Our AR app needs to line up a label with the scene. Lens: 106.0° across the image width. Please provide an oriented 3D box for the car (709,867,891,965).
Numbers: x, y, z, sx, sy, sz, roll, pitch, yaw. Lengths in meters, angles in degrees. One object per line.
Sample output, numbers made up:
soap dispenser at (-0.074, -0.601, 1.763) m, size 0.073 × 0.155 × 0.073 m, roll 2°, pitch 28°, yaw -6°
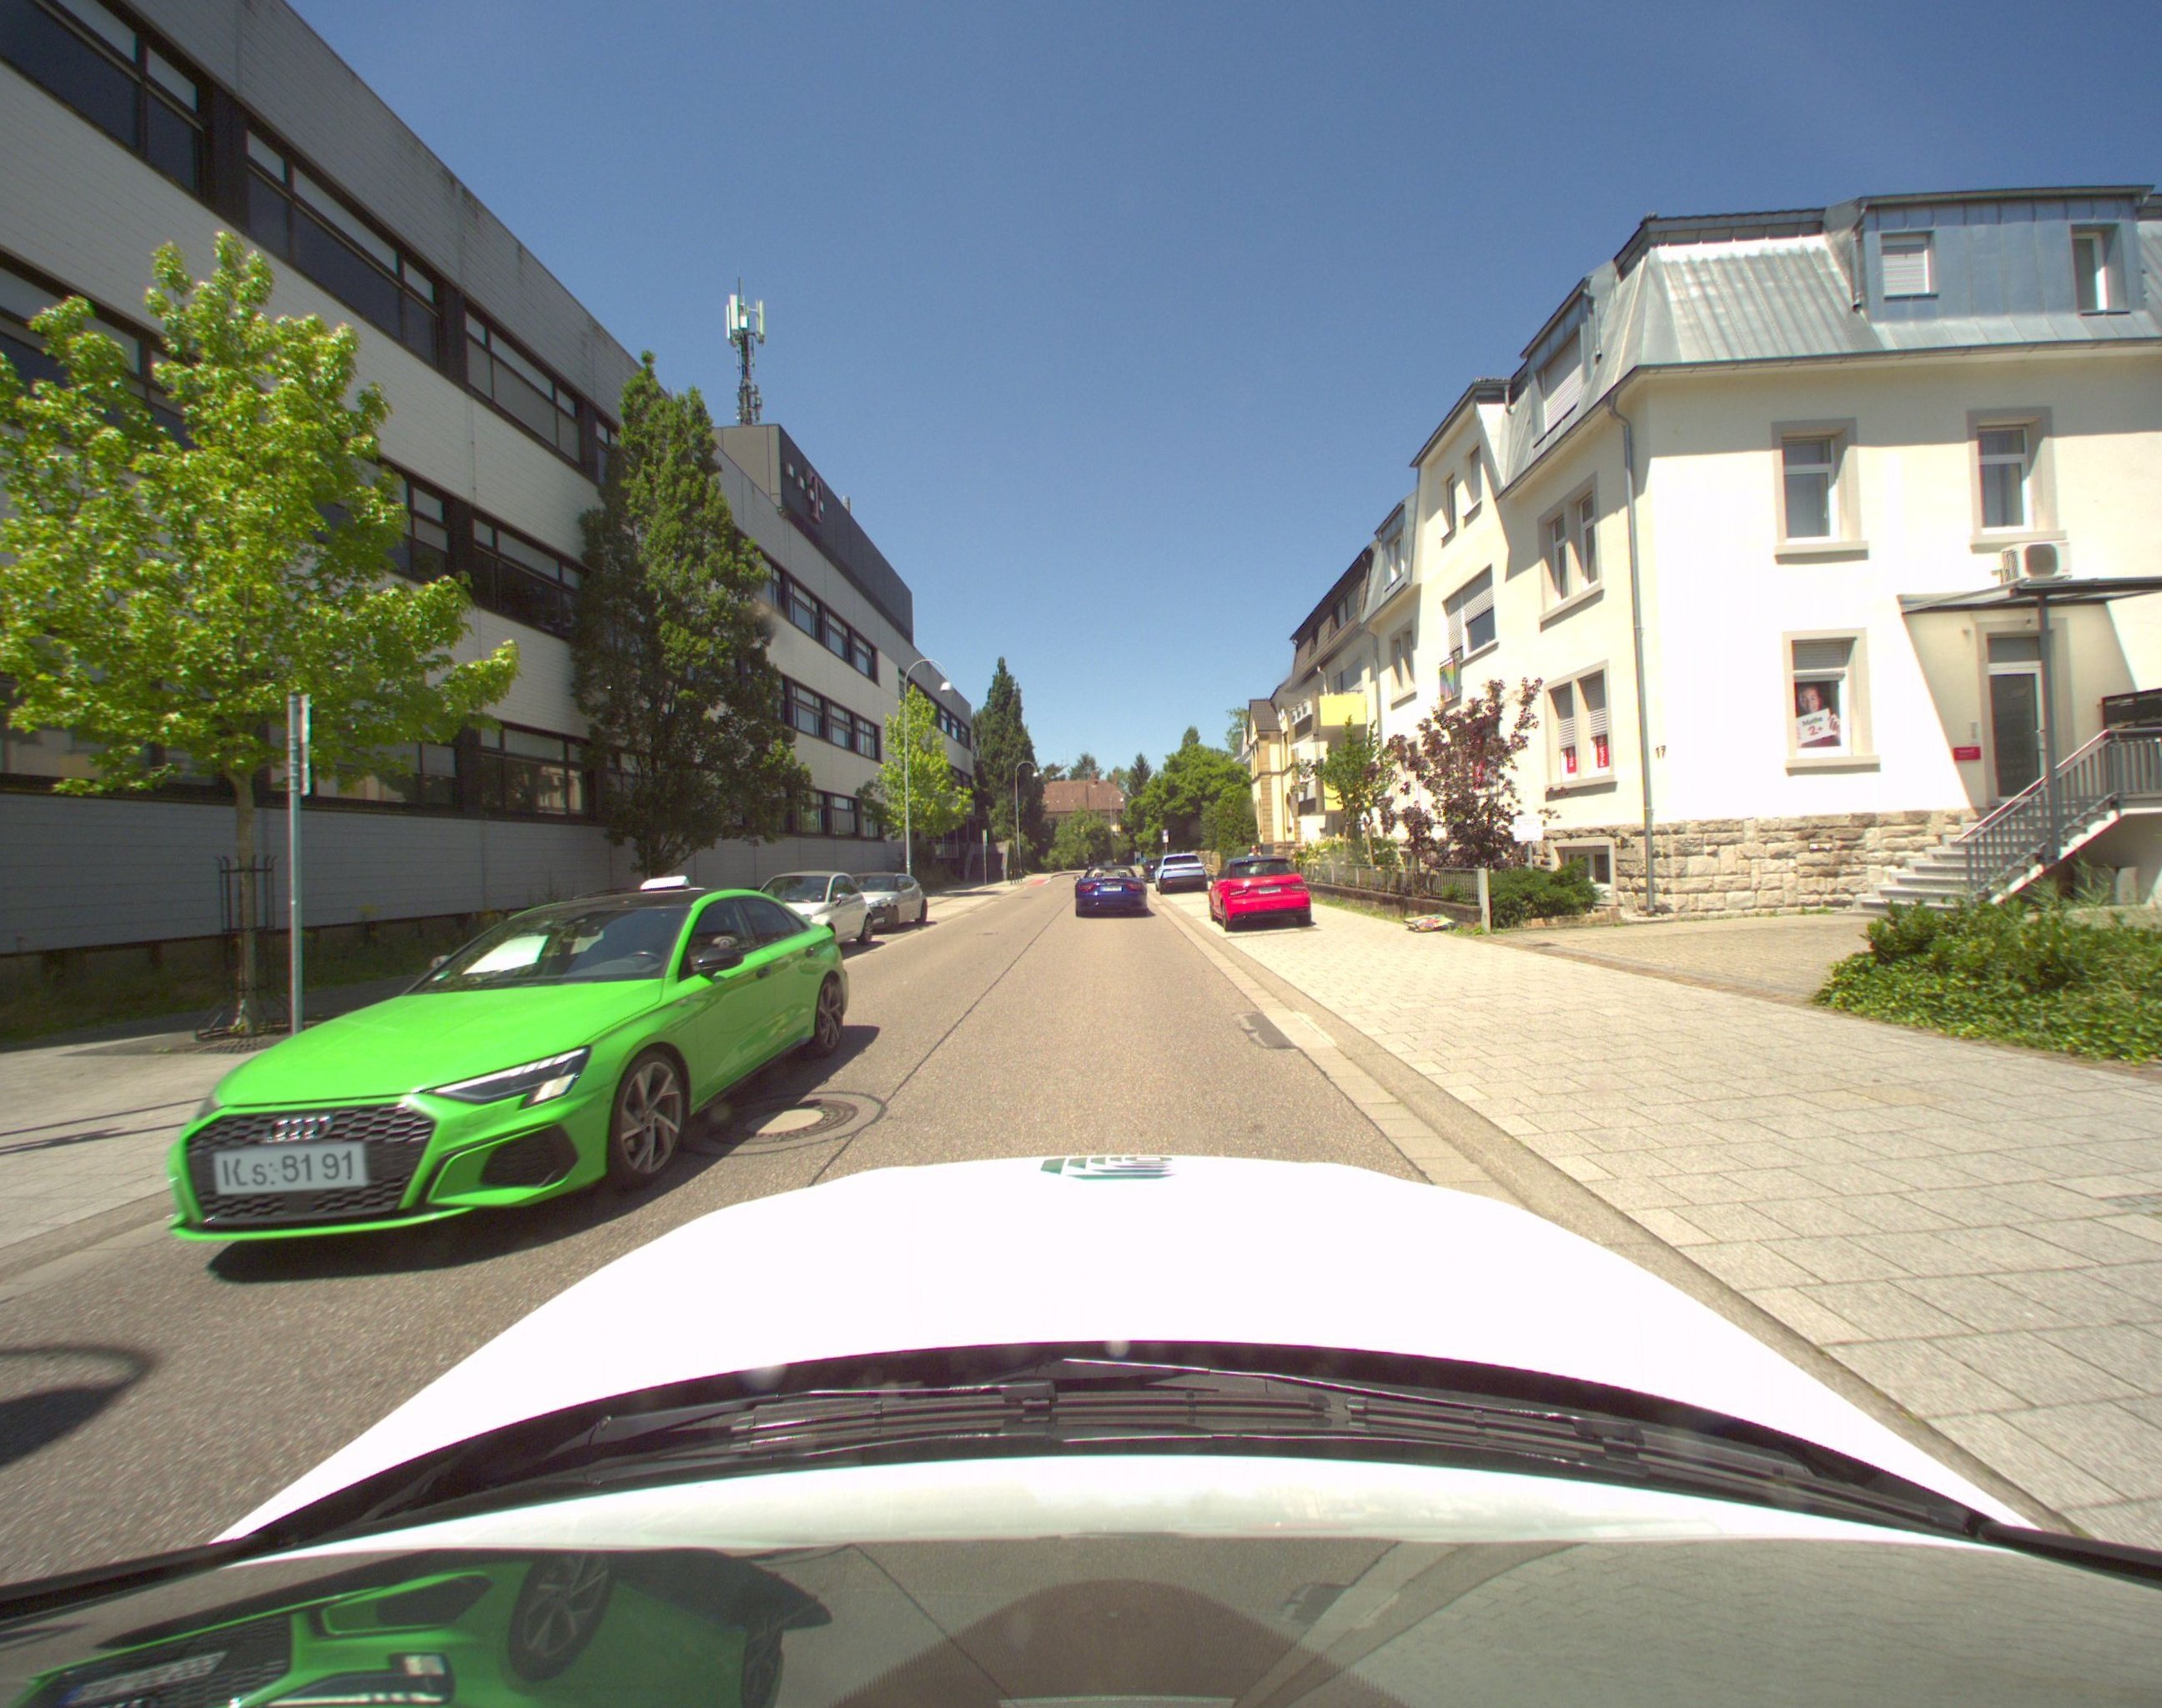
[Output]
car at (-5.154, 1.064, 15.613) m, size 1.815 × 1.512 × 4.291 m, roll -2°, pitch 0°, yaw 2°

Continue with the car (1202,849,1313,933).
car at (3.611, 0.701, 17.246) m, size 1.597 × 1.440 × 3.856 m, roll -5°, pitch 0°, yaw 3°

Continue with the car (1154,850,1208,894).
car at (4.121, 0.710, 34.247) m, size 1.836 × 1.619 × 4.430 m, roll -4°, pitch 0°, yaw 3°

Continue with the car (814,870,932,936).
car at (-5.070, 1.144, 20.376) m, size 1.741 × 1.409 × 3.936 m, roll -1°, pitch 0°, yaw 3°

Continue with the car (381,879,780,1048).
car at (-5.470, 1.083, 9.802) m, size 1.815 × 1.411 × 4.579 m, roll -1°, pitch 0°, yaw 2°

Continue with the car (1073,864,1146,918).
car at (0.800, 0.958, 22.838) m, size 1.820 × 1.337 × 4.702 m, roll -1°, pitch -1°, yaw 2°

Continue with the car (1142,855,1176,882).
car at (4.624, 0.828, 48.685) m, size 1.625 × 1.446 × 4.400 m, roll -5°, pitch 0°, yaw 2°

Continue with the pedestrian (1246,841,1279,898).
pedestrian at (5.592, 0.476, 25.121) m, size 0.738 × 1.669 × 0.706 m, roll -5°, pitch -1°, yaw 0°

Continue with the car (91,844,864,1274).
car at (-2.972, 0.834, 5.313) m, size 1.816 × 1.588 × 4.101 m, roll -4°, pitch -1°, yaw 1°
